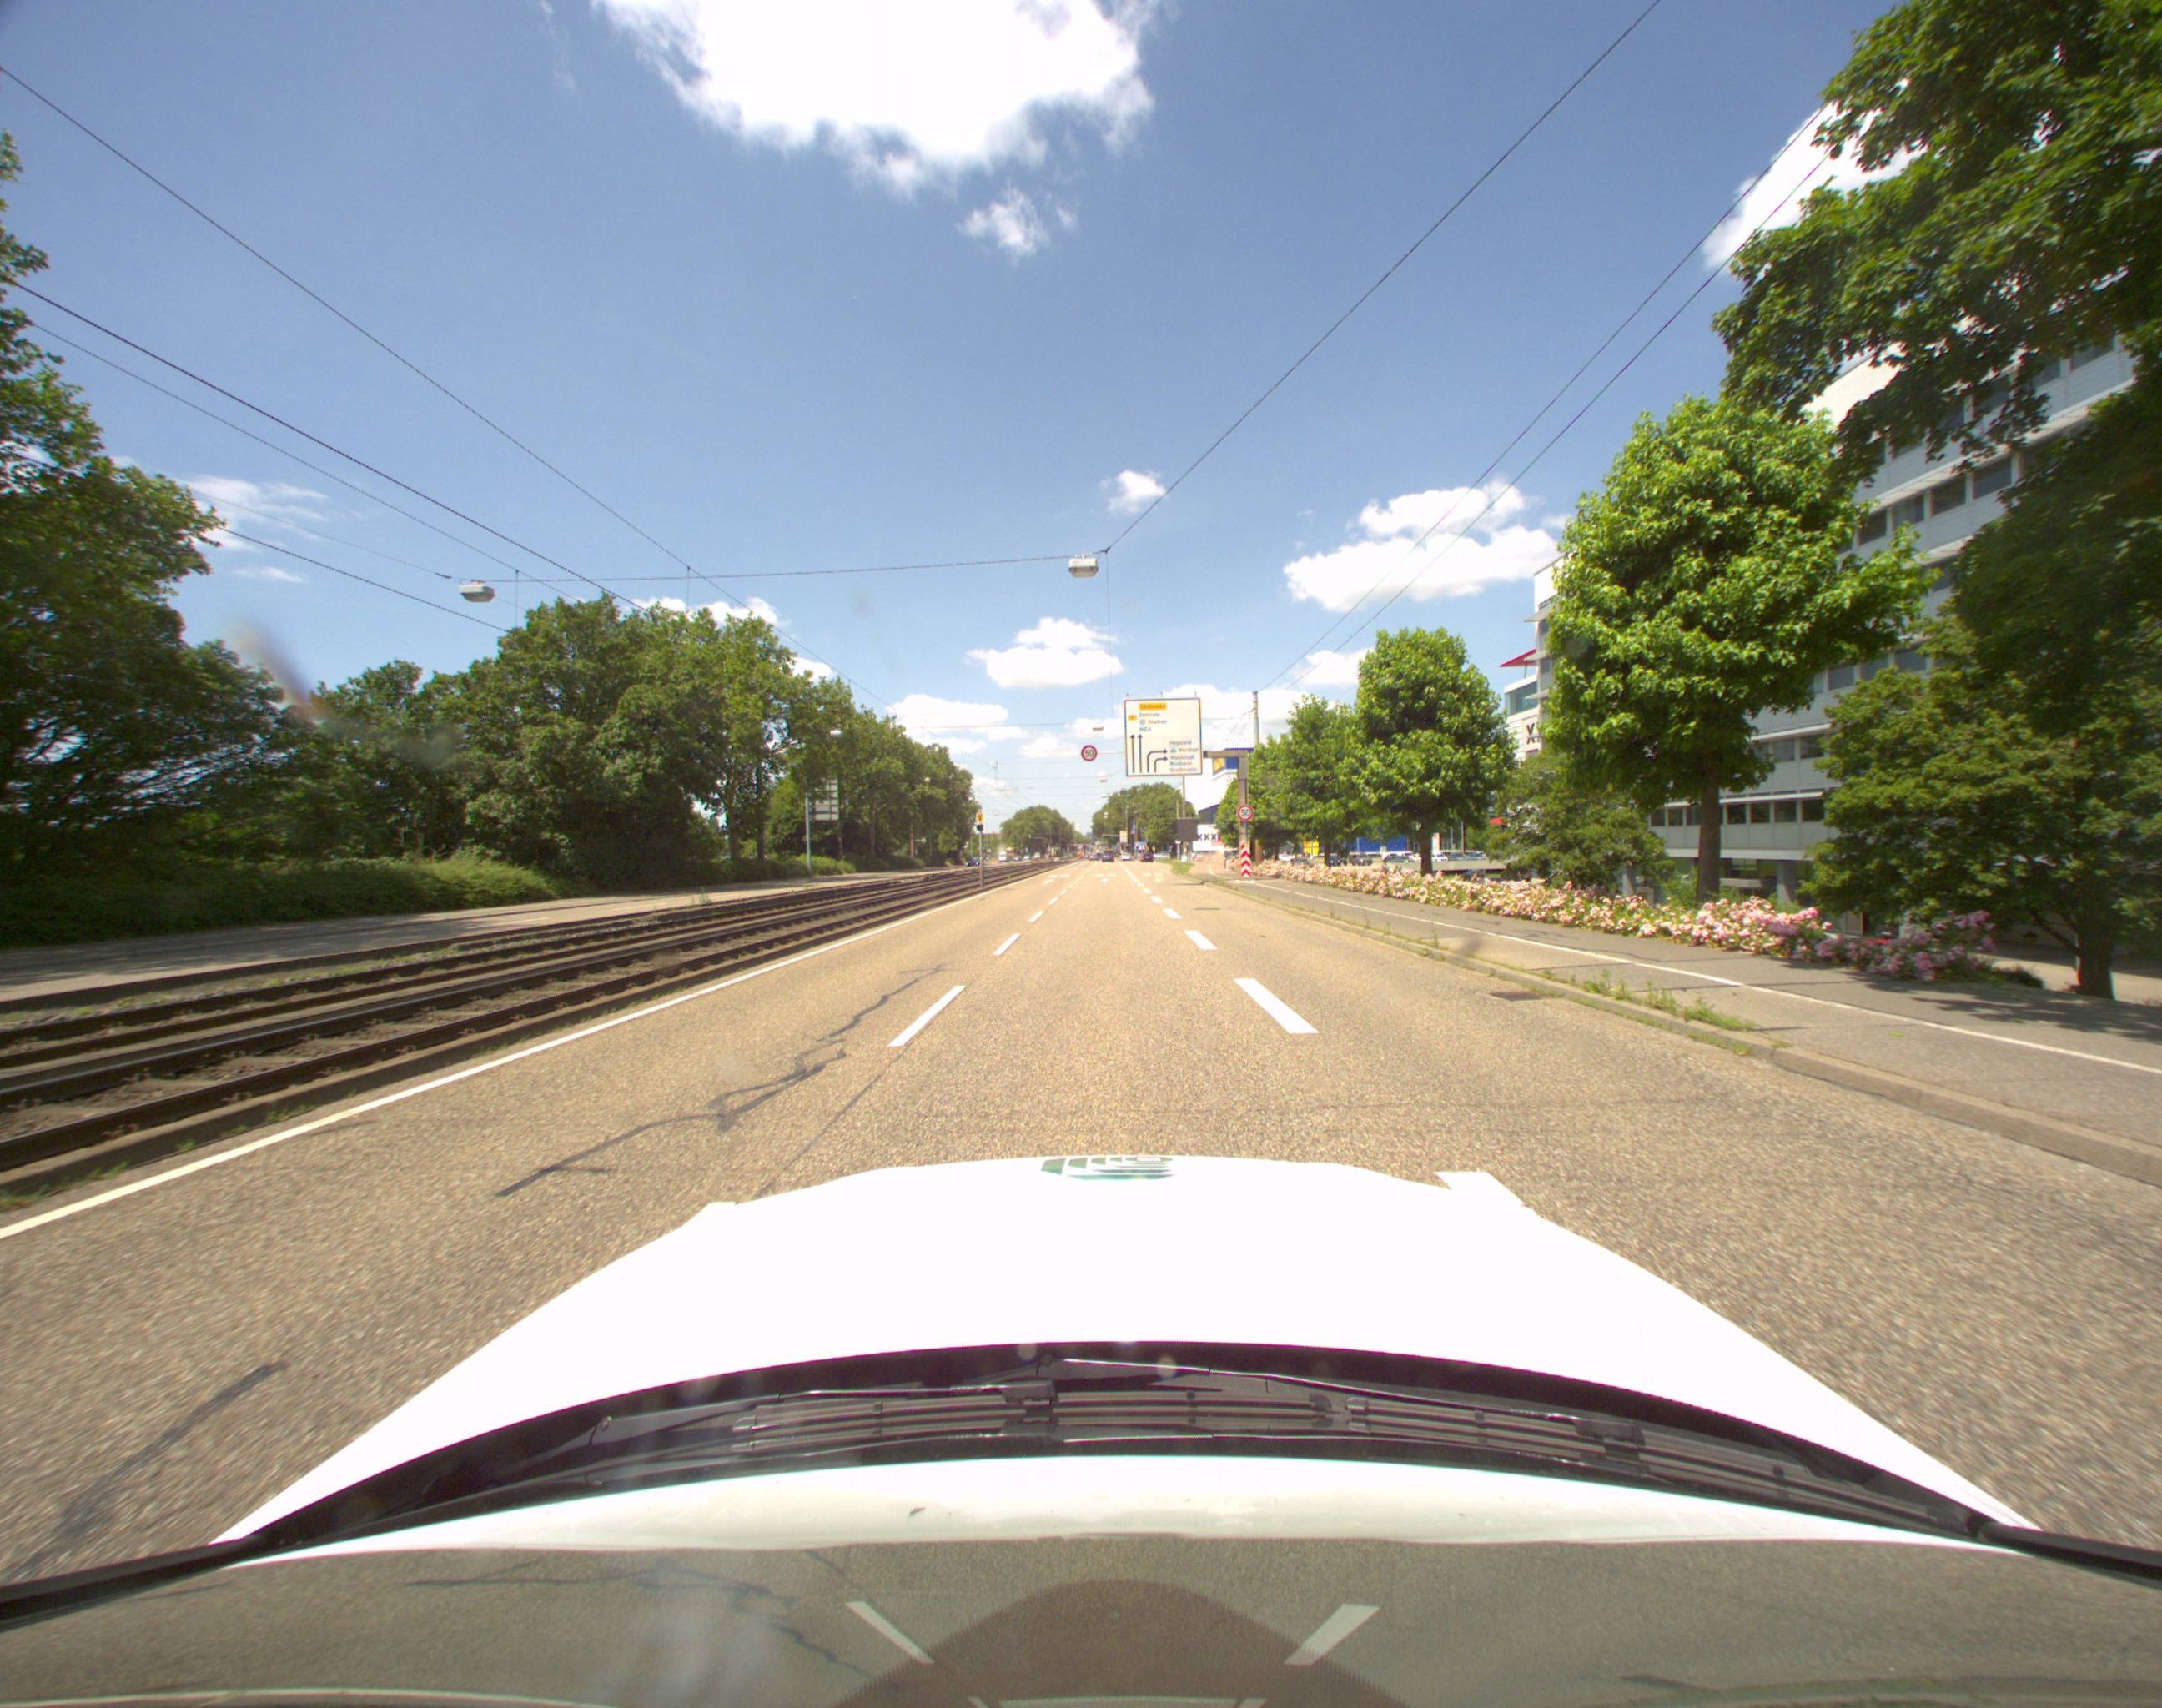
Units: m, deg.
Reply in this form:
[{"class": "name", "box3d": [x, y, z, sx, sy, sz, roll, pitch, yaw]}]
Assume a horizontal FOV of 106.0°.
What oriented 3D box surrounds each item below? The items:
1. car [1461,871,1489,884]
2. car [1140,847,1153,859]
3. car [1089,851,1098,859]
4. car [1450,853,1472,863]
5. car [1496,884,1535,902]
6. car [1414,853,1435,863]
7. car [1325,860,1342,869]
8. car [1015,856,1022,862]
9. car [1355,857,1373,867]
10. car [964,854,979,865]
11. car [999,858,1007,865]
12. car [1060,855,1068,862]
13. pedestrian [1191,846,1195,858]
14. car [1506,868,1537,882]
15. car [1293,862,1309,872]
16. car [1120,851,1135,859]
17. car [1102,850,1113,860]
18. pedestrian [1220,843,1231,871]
[{"class": "car", "box3d": [48.140, 2.849, 99.583, 1.734, 1.483, 3.966, 0, 0, 2]}, {"class": "car", "box3d": [10.531, -0.183, 131.231, 1.892, 1.805, 3.979, 0, 0, 2]}, {"class": "car", "box3d": [2.546, 0.224, 167.186, 1.836, 1.549, 3.776, 0, 0, 0]}, {"class": "car", "box3d": [56.628, 0.530, 121.352, 1.566, 1.483, 3.888, 0, 0, 0]}, {"class": "car", "box3d": [42.403, 3.777, 79.610, 1.734, 1.483, 4.089, 0, 0, 2]}, {"class": "car", "box3d": [52.209, 0.645, 123.842, 1.566, 1.483, 3.888, 0, 0, 0]}, {"class": "car", "box3d": [41.090, 1.679, 132.793, 1.566, 1.483, 3.888, 0, 0, 0]}, {"class": "car", "box3d": [-16.581, 1.242, 215.487, 1.617, 1.549, 3.705, 0, 0, 1]}, {"class": "car", "box3d": [45.305, 1.309, 130.535, 1.566, 1.483, 3.888, 0, 0, 0]}, {"class": "car", "box3d": [-15.991, 0.731, 118.831, 1.639, 1.550, 4.216, 0, 0, 0]}, {"class": "car", "box3d": [-20.288, 1.934, 211.164, 1.617, 1.549, 3.705, 0, 0, 1]}, {"class": "car", "box3d": [-3.871, 1.043, 184.021, 1.836, 1.549, 3.776, 0, 0, 0]}, {"class": "pedestrian", "box3d": [16.549, -0.277, 120.300, 0.578, 1.792, 0.590, 0, 0, -1]}, {"class": "car", "box3d": [53.129, 2.518, 98.215, 1.734, 1.483, 3.966, 0, 0, 2]}, {"class": "car", "box3d": [35.304, 2.112, 130.960, 1.566, 1.483, 3.888, 0, 0, 0]}, {"class": "car", "box3d": [9.520, 0.261, 165.200, 1.670, 1.549, 4.006, 0, 0, 24]}, {"class": "car", "box3d": [4.363, 0.136, 134.038, 1.869, 1.539, 3.777, 0, 0, 1]}, {"class": "pedestrian", "box3d": [9.569, 0.193, 53.914, 0.666, 1.792, 0.925, 0, 0, 4]}]
